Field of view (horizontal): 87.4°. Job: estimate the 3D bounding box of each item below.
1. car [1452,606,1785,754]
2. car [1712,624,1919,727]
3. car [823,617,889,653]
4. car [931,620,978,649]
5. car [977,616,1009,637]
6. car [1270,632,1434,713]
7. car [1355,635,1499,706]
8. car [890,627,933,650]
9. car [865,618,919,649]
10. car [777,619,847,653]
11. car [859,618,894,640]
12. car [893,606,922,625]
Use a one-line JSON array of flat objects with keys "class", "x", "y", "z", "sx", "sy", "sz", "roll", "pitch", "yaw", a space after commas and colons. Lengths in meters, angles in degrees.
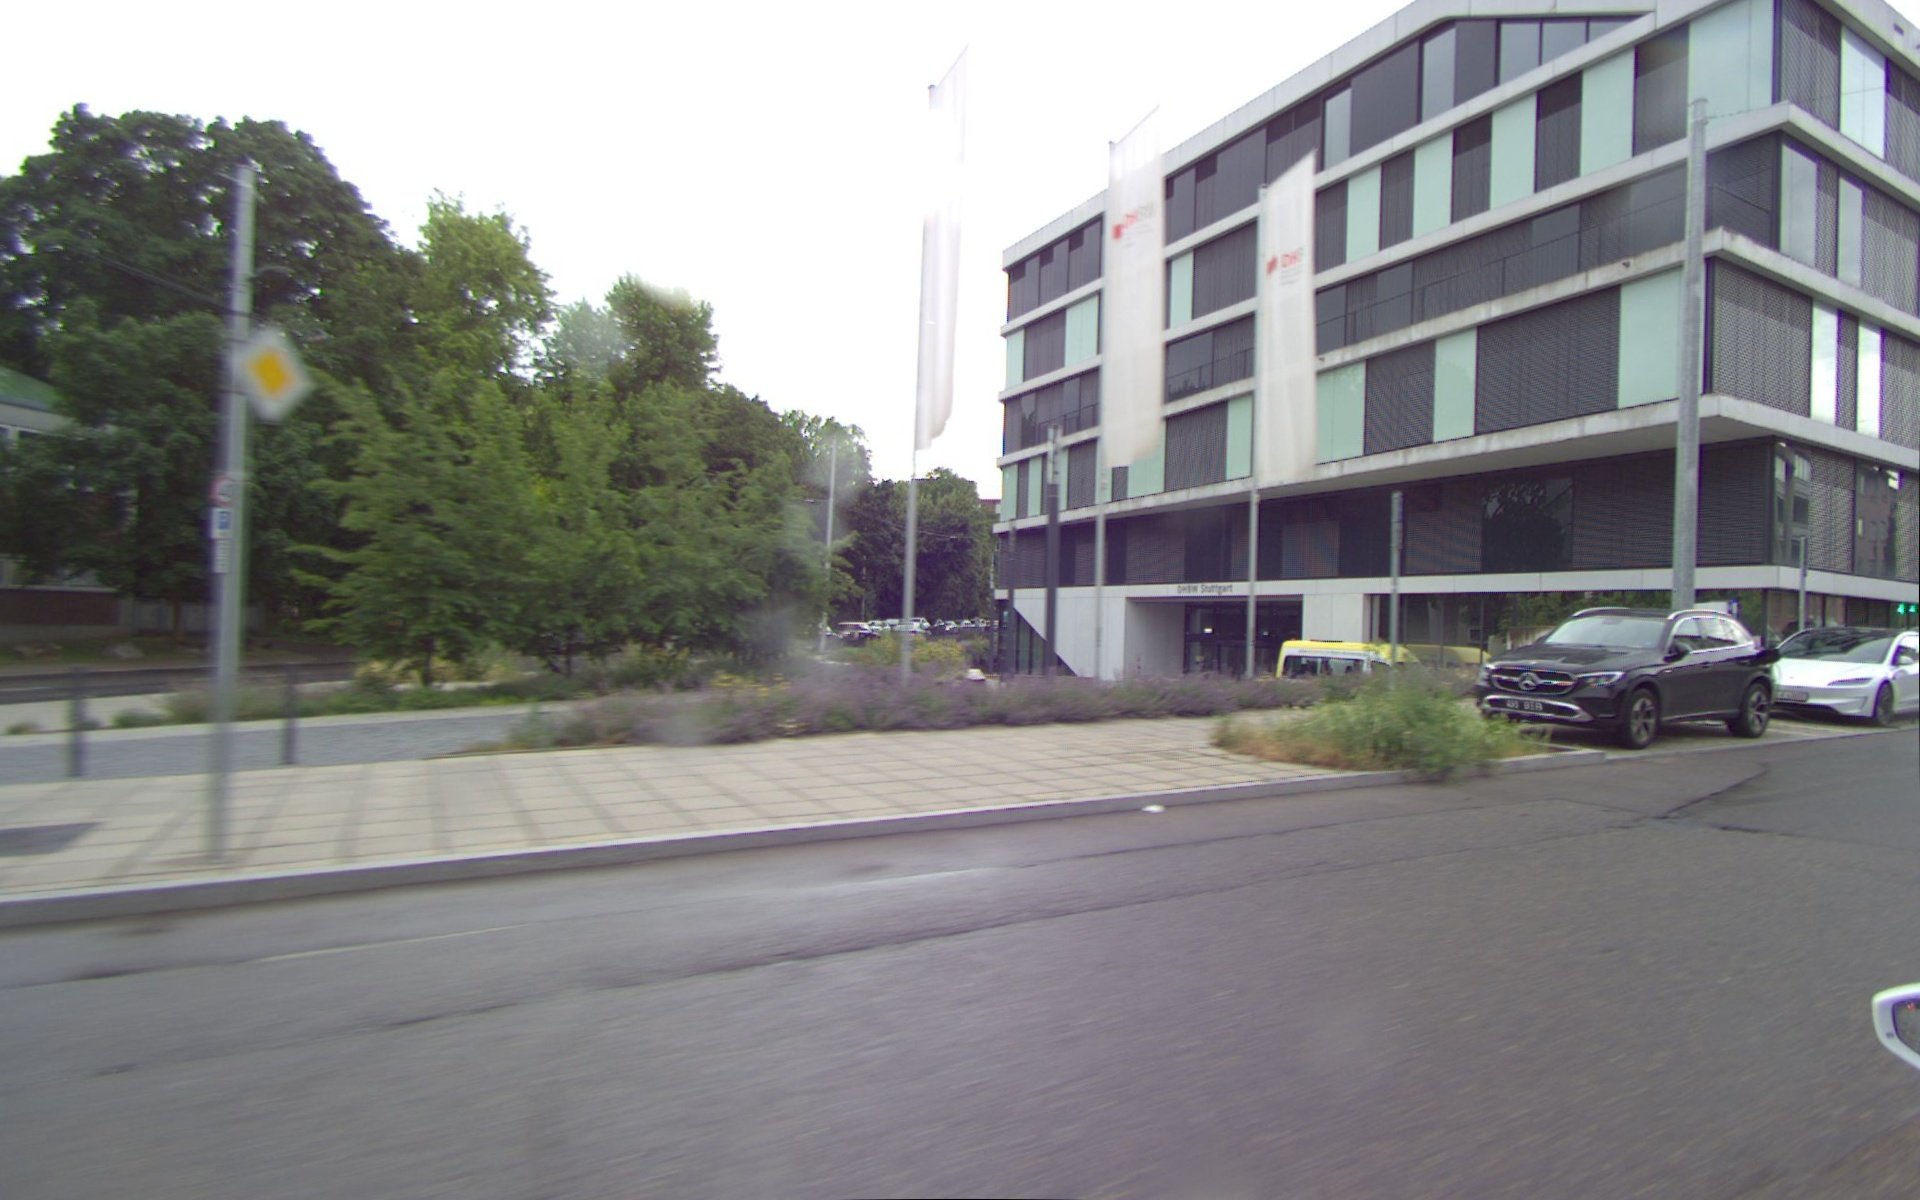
[{"class": "car", "x": 8.741, "y": 0.958, "z": 13.259, "sx": 4.437, "sy": 1.639, "sz": 1.841, "roll": 1, "pitch": 0, "yaw": -30}, {"class": "car", "x": 14.451, "y": 1.158, "z": 16.463, "sx": 4.349, "sy": 1.438, "sz": 1.813, "roll": 1, "pitch": 0, "yaw": -30}, {"class": "car", "x": -5.442, "y": 1.820, "z": 53.116, "sx": 1.883, "sy": 1.763, "sz": 4.000, "roll": 2, "pitch": 0, "yaw": 19}, {"class": "car", "x": -0.326, "y": 2.328, "z": 68.441, "sx": 1.960, "sy": 1.763, "sz": 4.000, "roll": 2, "pitch": 0, "yaw": 19}, {"class": "car", "x": 2.499, "y": 2.006, "z": 75.733, "sx": 1.413, "sy": 1.514, "sz": 3.639, "roll": 0, "pitch": 0, "yaw": 19}, {"class": "car", "x": 12.388, "y": 2.213, "z": 31.992, "sx": 1.912, "sy": 2.203, "sz": 4.560, "roll": 1, "pitch": 0, "yaw": -34}, {"class": "car", "x": 15.751, "y": 2.320, "z": 34.117, "sx": 1.579, "sy": 2.059, "sz": 4.323, "roll": 1, "pitch": 0, "yaw": -29}, {"class": "car", "x": -2.942, "y": 2.356, "z": 61.444, "sx": 1.452, "sy": 1.258, "sz": 3.400, "roll": 2, "pitch": 0, "yaw": 19}, {"class": "car", "x": -3.862, "y": 1.909, "z": 57.930, "sx": 1.770, "sy": 1.609, "sz": 3.678, "roll": 2, "pitch": 0, "yaw": 19}, {"class": "car", "x": -6.912, "y": 1.661, "z": 47.240, "sx": 1.635, "sy": 1.469, "sz": 3.869, "roll": 2, "pitch": 0, "yaw": 19}, {"class": "car", "x": -6.692, "y": 2.346, "z": 80.796, "sx": 1.711, "sy": 1.628, "sz": 3.868, "roll": 2, "pitch": 0, "yaw": 12}, {"class": "car", "x": -4.759, "y": 1.387, "z": 91.842, "sx": 1.711, "sy": 1.628, "sz": 3.899, "roll": 2, "pitch": 0, "yaw": 12}]
